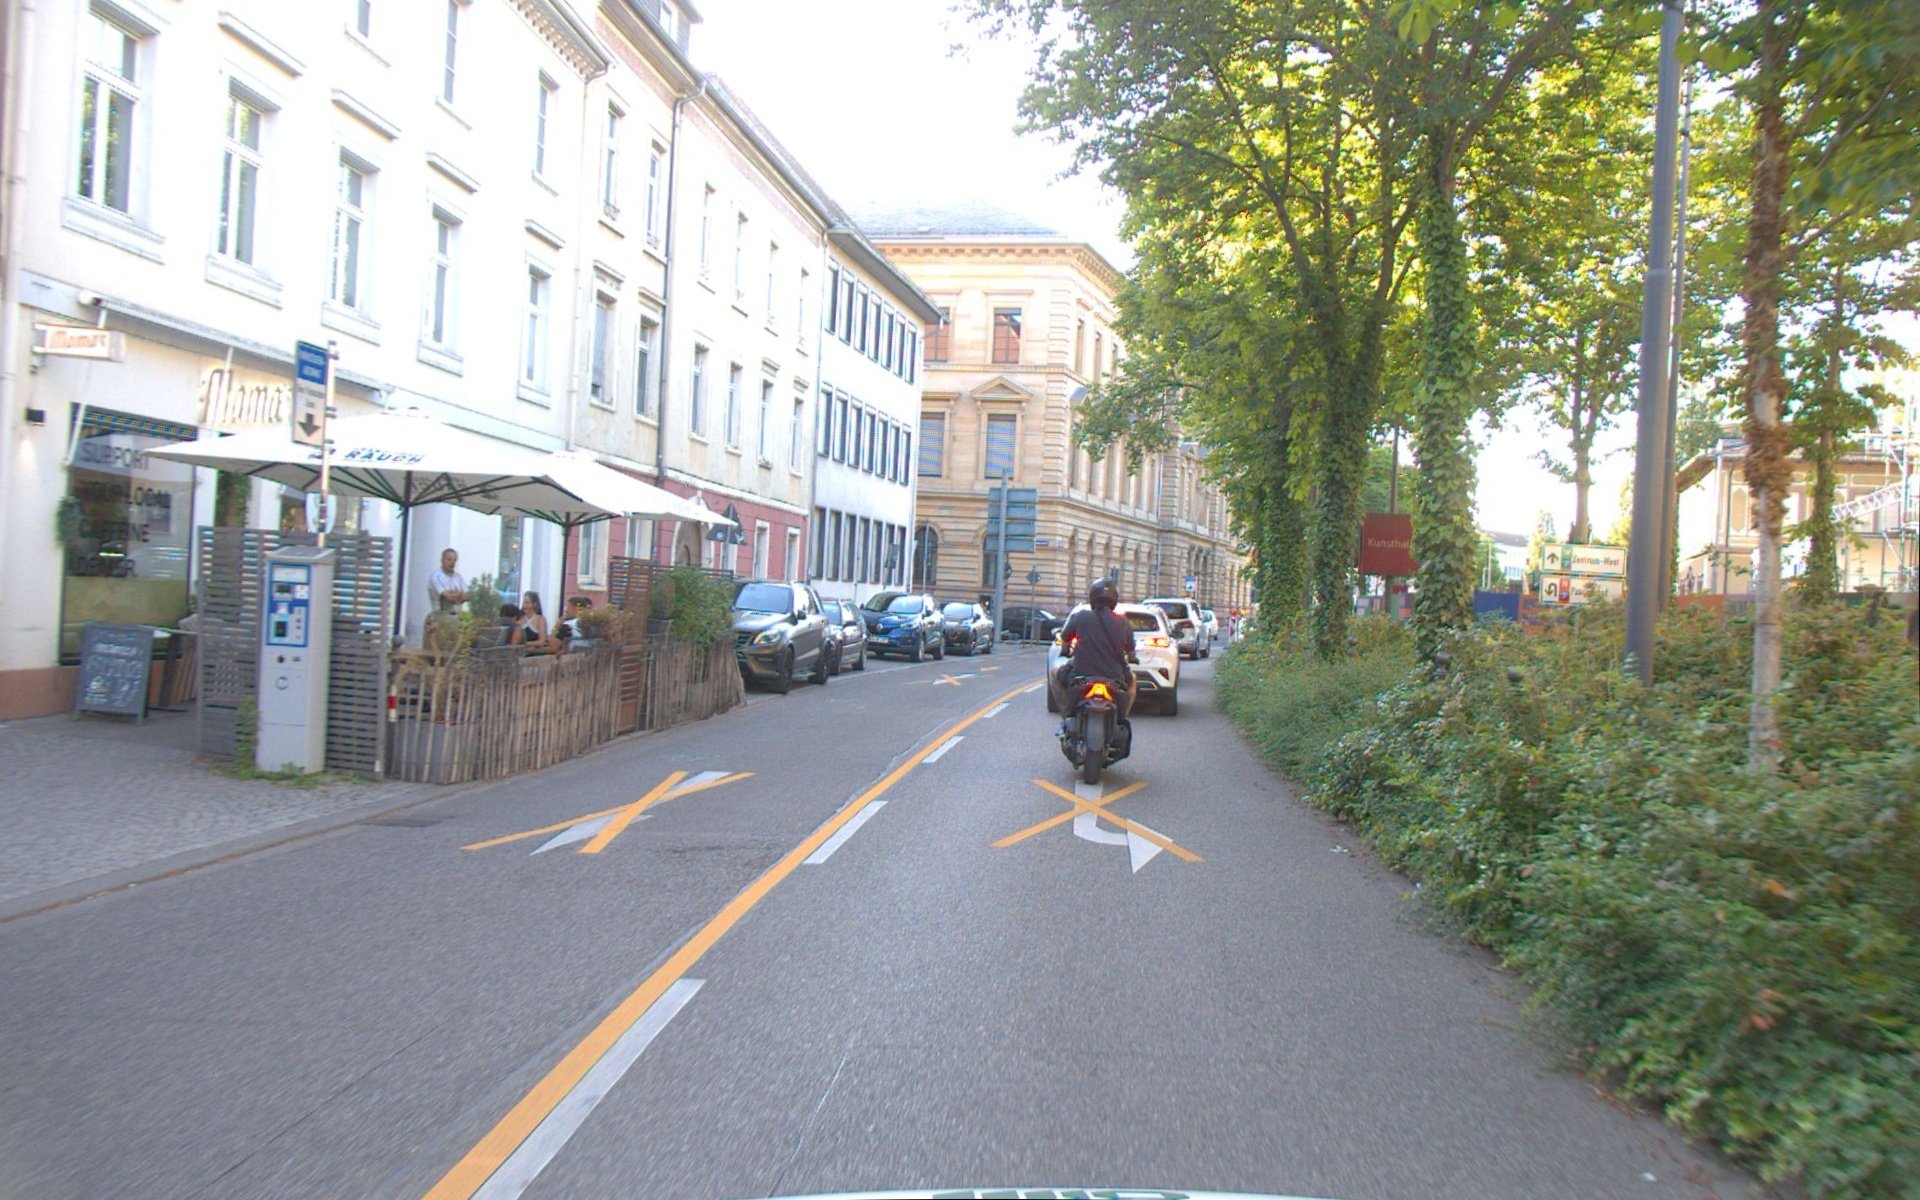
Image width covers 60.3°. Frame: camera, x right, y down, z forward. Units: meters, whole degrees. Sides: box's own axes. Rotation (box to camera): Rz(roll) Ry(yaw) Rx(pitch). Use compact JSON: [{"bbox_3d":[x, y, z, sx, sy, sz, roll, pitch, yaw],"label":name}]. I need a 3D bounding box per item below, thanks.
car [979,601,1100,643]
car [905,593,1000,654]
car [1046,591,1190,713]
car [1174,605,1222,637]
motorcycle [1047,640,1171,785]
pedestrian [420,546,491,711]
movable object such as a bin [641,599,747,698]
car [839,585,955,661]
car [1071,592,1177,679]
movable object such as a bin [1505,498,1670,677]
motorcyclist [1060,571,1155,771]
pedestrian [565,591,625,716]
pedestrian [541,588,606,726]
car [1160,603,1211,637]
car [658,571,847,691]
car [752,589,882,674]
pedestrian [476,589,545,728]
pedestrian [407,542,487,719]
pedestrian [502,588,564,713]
[{"bbox_3d":[3.005,0.831,62.407,4.224,1.414,1.776,2,0,20],"label":"car"},{"bbox_3d":[-0.144,0.655,47.513,1.785,1.529,4.764,4,0,10],"label":"car"},{"bbox_3d":[2.285,0.678,23.708,1.812,1.506,4.060,3,0,6],"label":"car"},{"bbox_3d":[12.315,1.057,85.482,1.951,1.555,4.187,2,0,14],"label":"car"},{"bbox_3d":[1.265,0.943,14.407,0.781,1.084,1.724,4,0,-3],"label":"motorcycle"},{"bbox_3d":[-5.688,0.315,18.663,0.428,1.806,0.598,3,0,18],"label":"pedestrian"},{"bbox_3d":[-3.742,0.665,23.320,1.190,1.318,0.931,2,0,10],"label":"movable object such as a bin"},{"bbox_3d":[-1.480,0.549,40.667,1.893,1.696,4.350,2,0,11],"label":"car"},{"bbox_3d":[3.311,0.655,32.725,1.801,1.489,4.061,4,0,8],"label":"car"},{"bbox_3d":[17.849,-0.322,47.602,3.237,4.618,7.911,2,0,13],"label":"movable object such as a bin"},{"bbox_3d":[1.283,0.608,14.505,0.644,1.679,0.650,4,0,-3],"label":"motorcyclist"},{"bbox_3d":[-4.264,0.612,19.320,0.512,1.415,0.488,3,0,2],"label":"pedestrian"},{"bbox_3d":[-4.201,0.614,18.015,0.460,1.458,0.502,3,0,10],"label":"pedestrian"},{"bbox_3d":[11.239,0.987,82.210,1.951,1.594,4.292,2,0,14],"label":"car"},{"bbox_3d":[-3.234,0.456,26.857,1.881,1.709,4.788,2,0,7],"label":"car"},{"bbox_3d":[-2.734,0.582,32.550,1.618,1.506,4.431,2,0,7],"label":"car"},{"bbox_3d":[-4.710,0.600,17.350,0.512,1.415,0.488,3,0,2],"label":"pedestrian"},{"bbox_3d":[-5.382,0.317,17.369,0.583,1.806,0.439,3,0,13],"label":"pedestrian"},{"bbox_3d":[-4.981,0.578,19.306,0.512,1.415,0.488,3,0,2],"label":"pedestrian"}]
